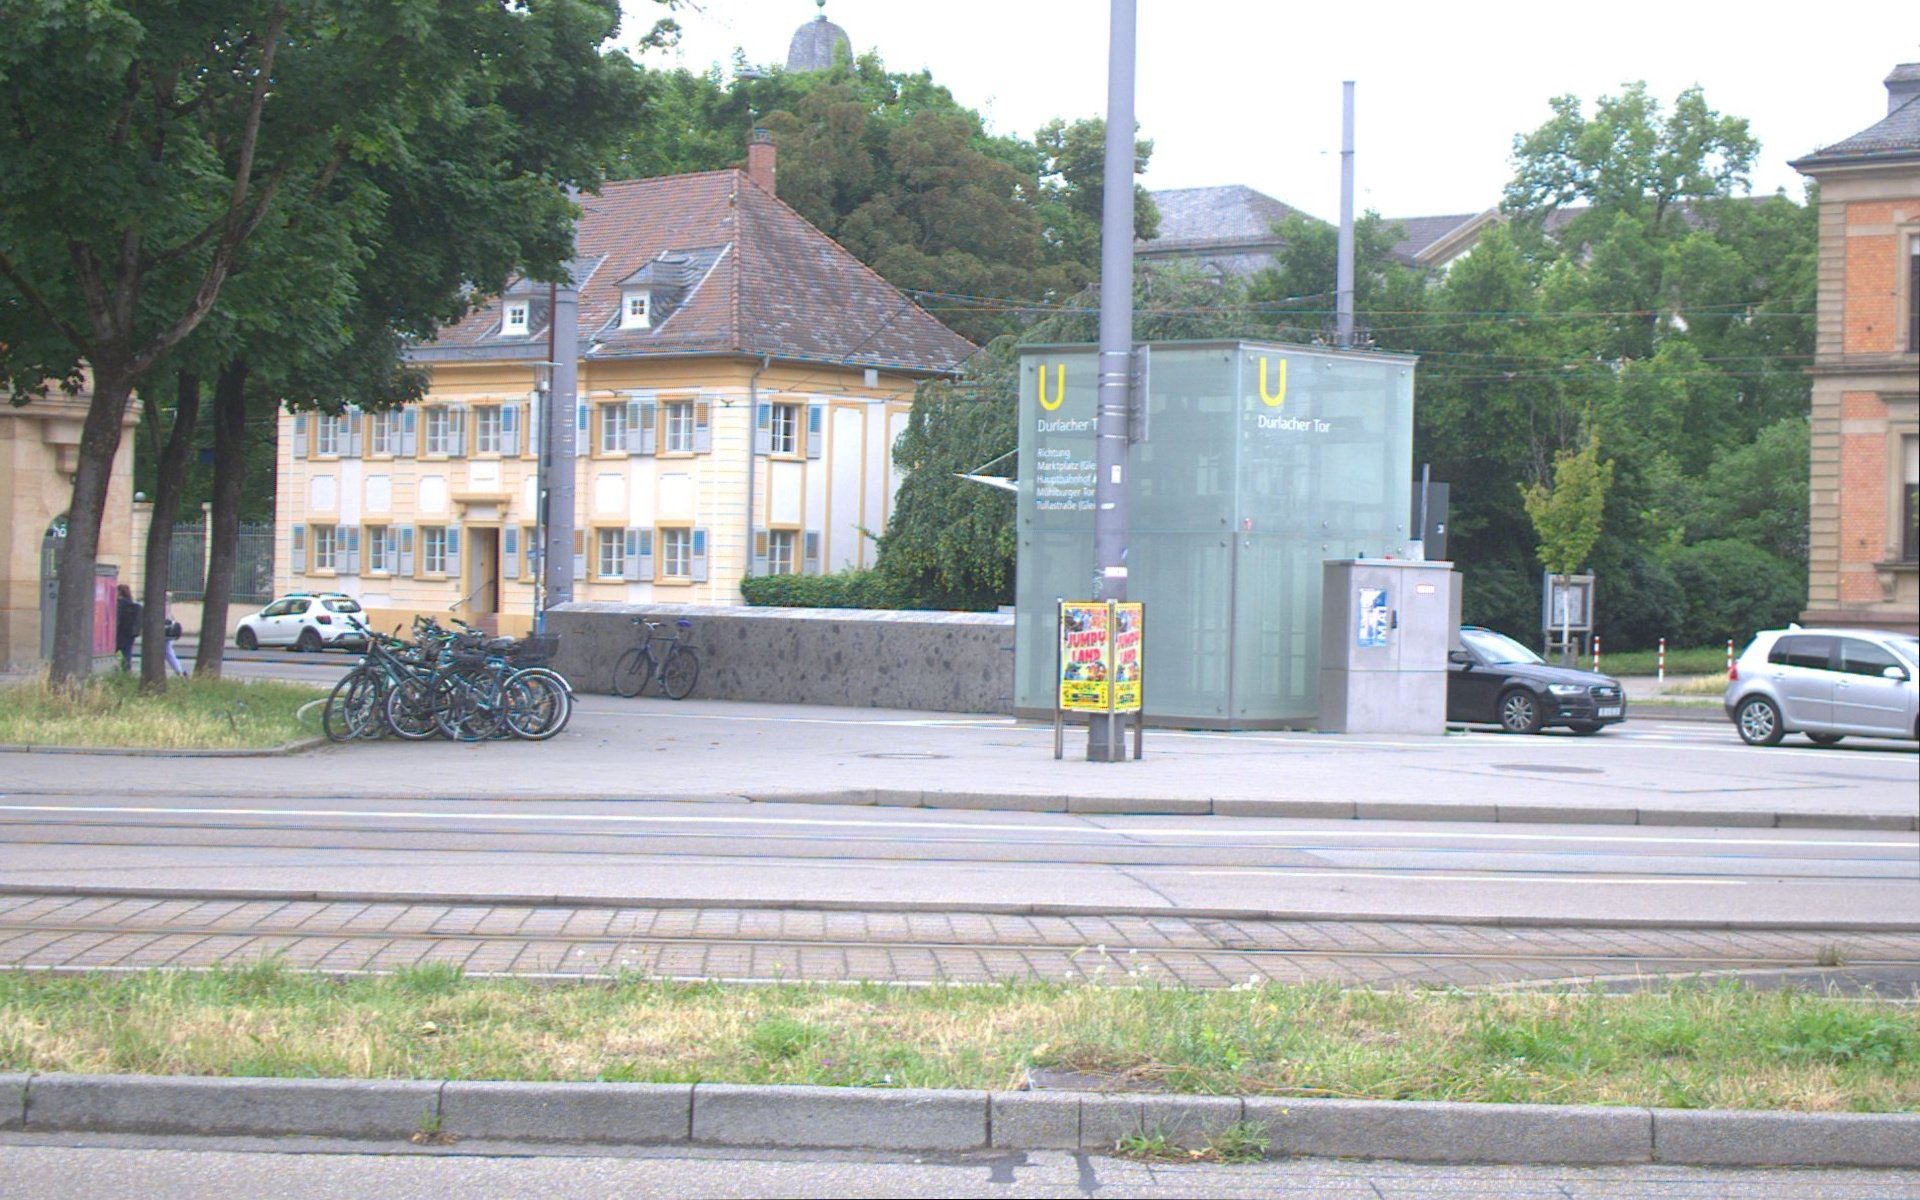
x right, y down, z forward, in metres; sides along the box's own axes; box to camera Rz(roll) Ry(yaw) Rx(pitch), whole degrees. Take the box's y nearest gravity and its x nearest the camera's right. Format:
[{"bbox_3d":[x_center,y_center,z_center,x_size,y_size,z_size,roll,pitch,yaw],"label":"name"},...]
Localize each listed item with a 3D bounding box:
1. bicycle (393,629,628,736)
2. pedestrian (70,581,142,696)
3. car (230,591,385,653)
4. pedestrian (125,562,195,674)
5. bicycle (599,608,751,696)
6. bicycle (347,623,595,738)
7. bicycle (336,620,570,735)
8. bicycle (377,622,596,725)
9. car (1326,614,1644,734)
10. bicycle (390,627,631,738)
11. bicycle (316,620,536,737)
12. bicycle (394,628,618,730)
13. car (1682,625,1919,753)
[{"bbox_3d":[-4.452,0.811,34.092,2.214,0.983,0.610,1,0,5],"label":"bicycle"},{"bbox_3d":[-13.025,0.583,52.439,0.844,1.717,0.952,1,0,-2],"label":"pedestrian"},{"bbox_3d":[-16.822,0.559,88.528,4.184,1.444,1.693,2,1,42],"label":"car"},{"bbox_3d":[-12.453,0.271,53.542,0.844,1.717,0.952,1,0,-2],"label":"pedestrian"},{"bbox_3d":[-3.876,0.690,46.603,0.738,1.111,2.362,1,0,-42],"label":"bicycle"},{"bbox_3d":[-4.555,0.746,32.070,2.214,1.003,0.480,1,0,5],"label":"bicycle"},{"bbox_3d":[-4.642,0.708,31.509,2.031,0.983,0.522,1,0,5],"label":"bicycle"},{"bbox_3d":[-5.083,0.786,36.957,2.214,1.035,0.688,1,0,5],"label":"bicycle"},{"bbox_3d":[7.068,0.981,46.608,1.692,1.444,4.142,1,1,-40],"label":"car"},{"bbox_3d":[-4.287,0.782,32.827,2.214,0.983,0.500,1,0,5],"label":"bicycle"},{"bbox_3d":[-4.772,0.694,30.759,1.863,0.983,0.500,1,0,4],"label":"bicycle"},{"bbox_3d":[-4.712,0.818,35.724,2.214,0.983,0.585,1,0,5],"label":"bicycle"},{"bbox_3d":[11.166,1.083,42.469,1.756,1.449,4.159,1,0,-41],"label":"car"}]
